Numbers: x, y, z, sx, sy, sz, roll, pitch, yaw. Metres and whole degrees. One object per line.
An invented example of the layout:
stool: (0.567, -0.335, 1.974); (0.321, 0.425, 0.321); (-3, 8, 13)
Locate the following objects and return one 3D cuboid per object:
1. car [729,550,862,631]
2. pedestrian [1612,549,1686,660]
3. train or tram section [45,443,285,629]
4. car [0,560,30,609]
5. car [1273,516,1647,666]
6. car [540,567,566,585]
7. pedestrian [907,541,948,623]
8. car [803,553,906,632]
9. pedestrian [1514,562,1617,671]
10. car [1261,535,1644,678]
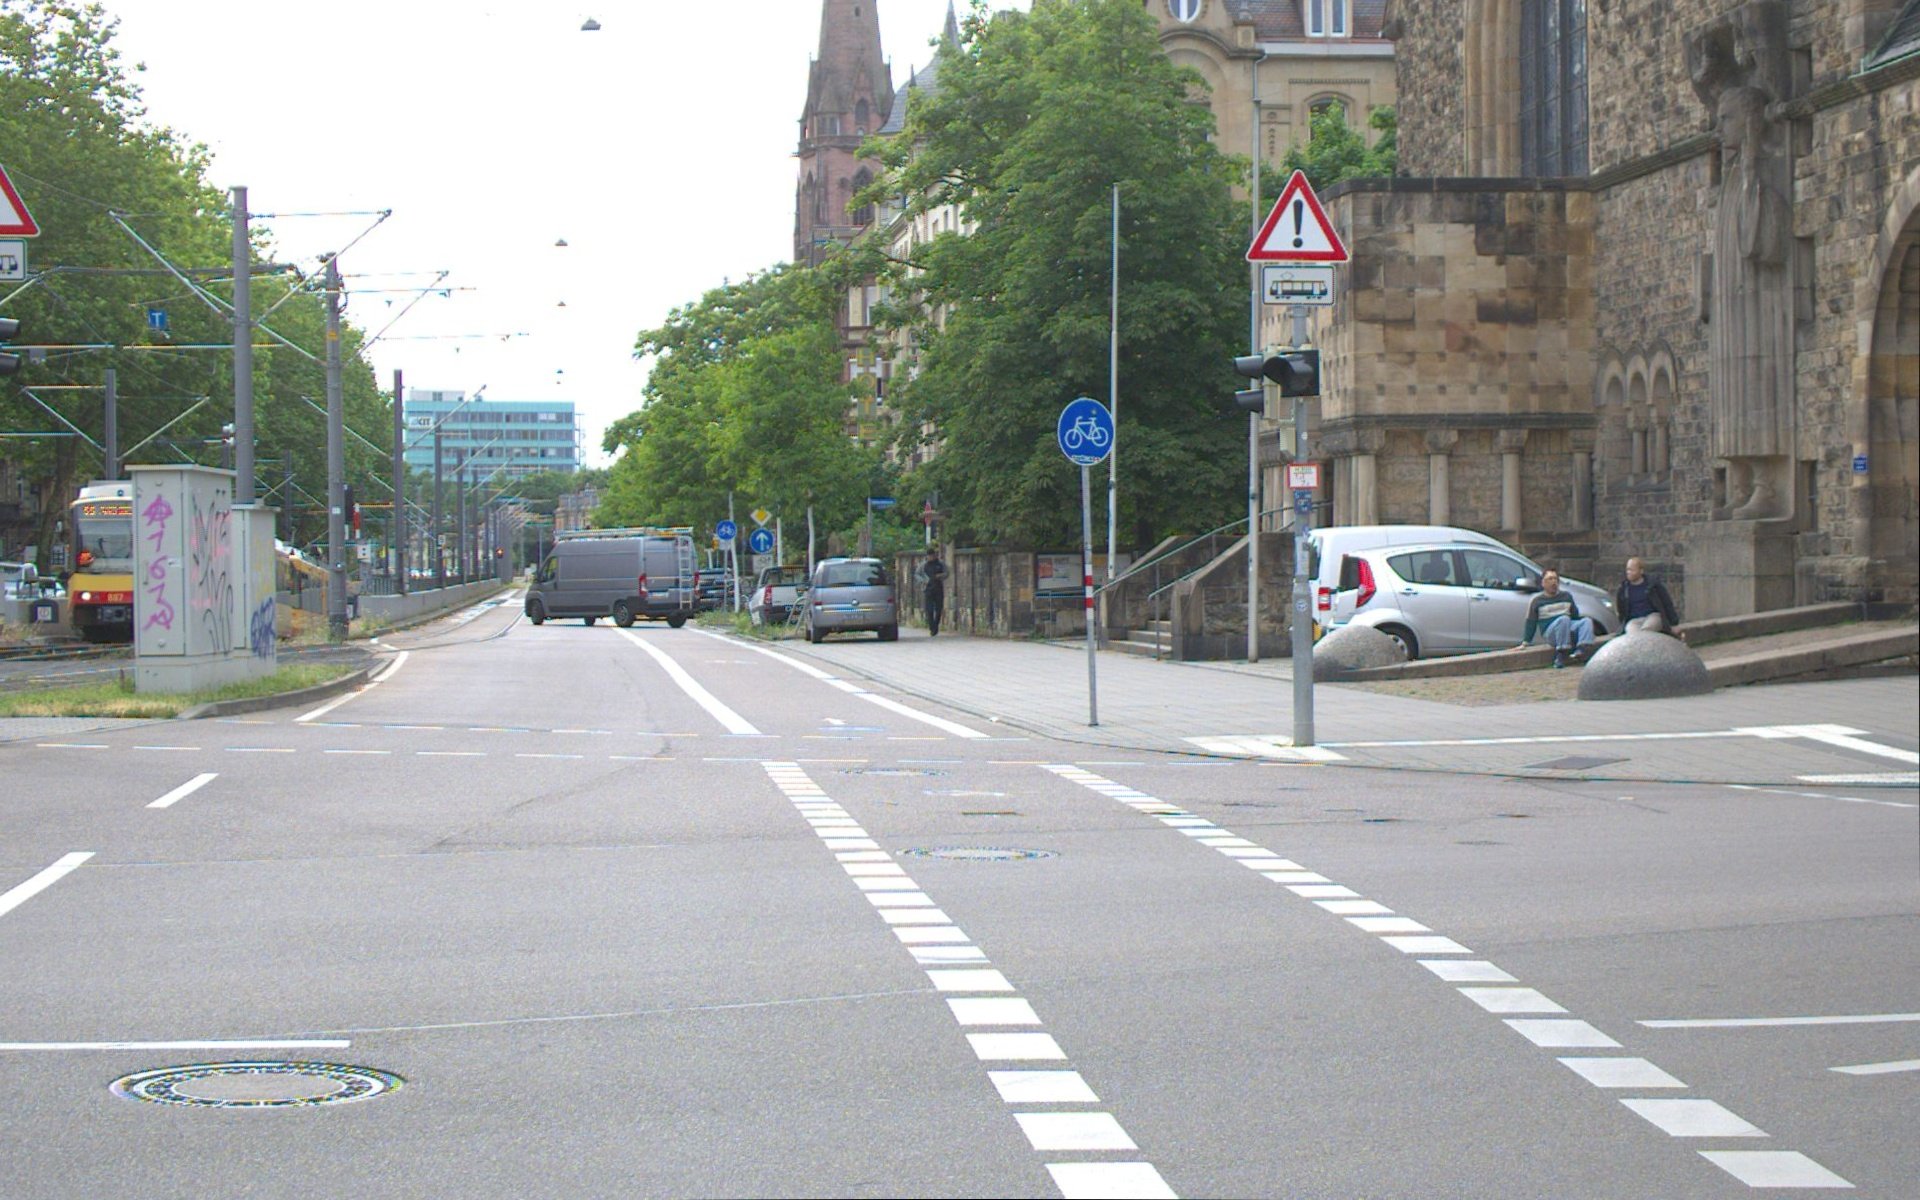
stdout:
car: (-3.715, -0.248, 76.776); (2.201, 1.739, 5.036); (0, 1, -11)
pedestrian: (7.819, 0.042, 39.036); (0.737, 1.224, 1.062); (1, 1, 8)
train or tram section: (-19.252, -1.522, 84.425); (3.642, 4.079, 15.042); (1, 1, -5)
car: (-34.466, -0.582, 122.941); (1.702, 1.706, 3.891); (1, 1, -6)
car: (6.614, -0.122, 45.670); (4.609, 1.875, 1.663); (1, 1, -6)
car: (-29.896, -1.778, 252.331); (1.804, 1.336, 4.001); (0, 1, -7)
pedestrian: (-0.656, -0.366, 69.299); (0.776, 1.641, 0.798); (1, 0, 0)
car: (-2.081, -0.169, 66.792); (1.702, 1.454, 3.891); (1, 1, -6)
pedestrian: (6.848, 0.176, 38.920); (0.736, 1.187, 1.493); (1, 1, -6)
car: (6.011, 0.071, 42.204); (4.347, 1.630, 1.663); (1, 1, -6)
